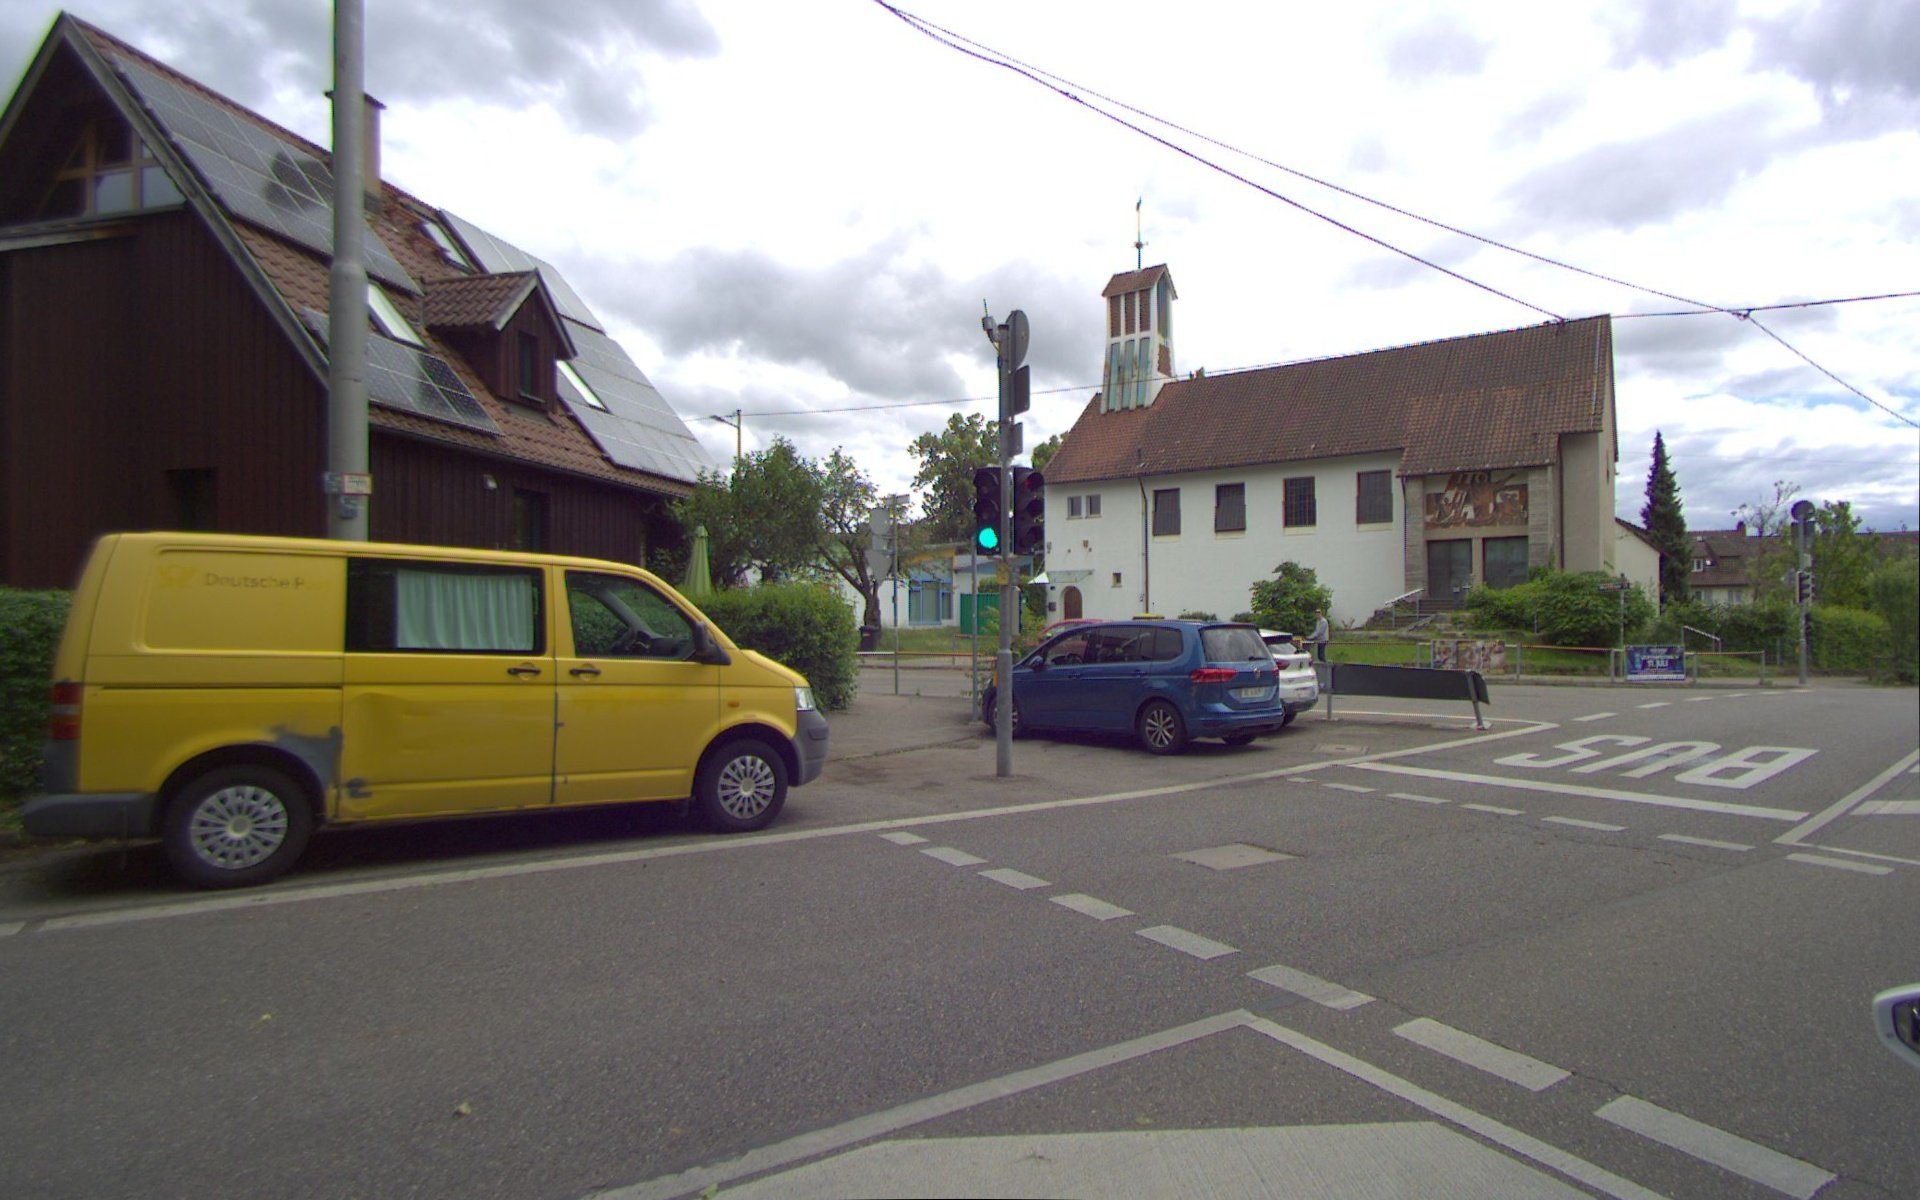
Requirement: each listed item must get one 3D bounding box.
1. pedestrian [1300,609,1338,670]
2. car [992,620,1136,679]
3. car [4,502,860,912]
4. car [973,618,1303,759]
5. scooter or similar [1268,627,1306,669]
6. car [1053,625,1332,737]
[{"bbox_3d":[10.083,1.097,28.251,0.814,1.674,0.690,2,-1,6],"label":"pedestrian"},{"bbox_3d":[2.833,1.313,27.047,3.610,1.509,1.776,-1,-1,15],"label":"car"},{"bbox_3d":[-3.251,0.611,7.096,4.751,2.015,1.904,2,-2,-34],"label":"car"},{"bbox_3d":[2.218,1.044,13.404,1.831,1.567,4.130,1,-2,-40],"label":"car"},{"bbox_3d":[9.219,1.343,28.330,0.871,1.109,0.612,2,-1,6],"label":"scooter or similar"},{"bbox_3d":[3.525,1.154,15.616,3.852,1.491,1.834,-2,-2,44],"label":"car"}]
